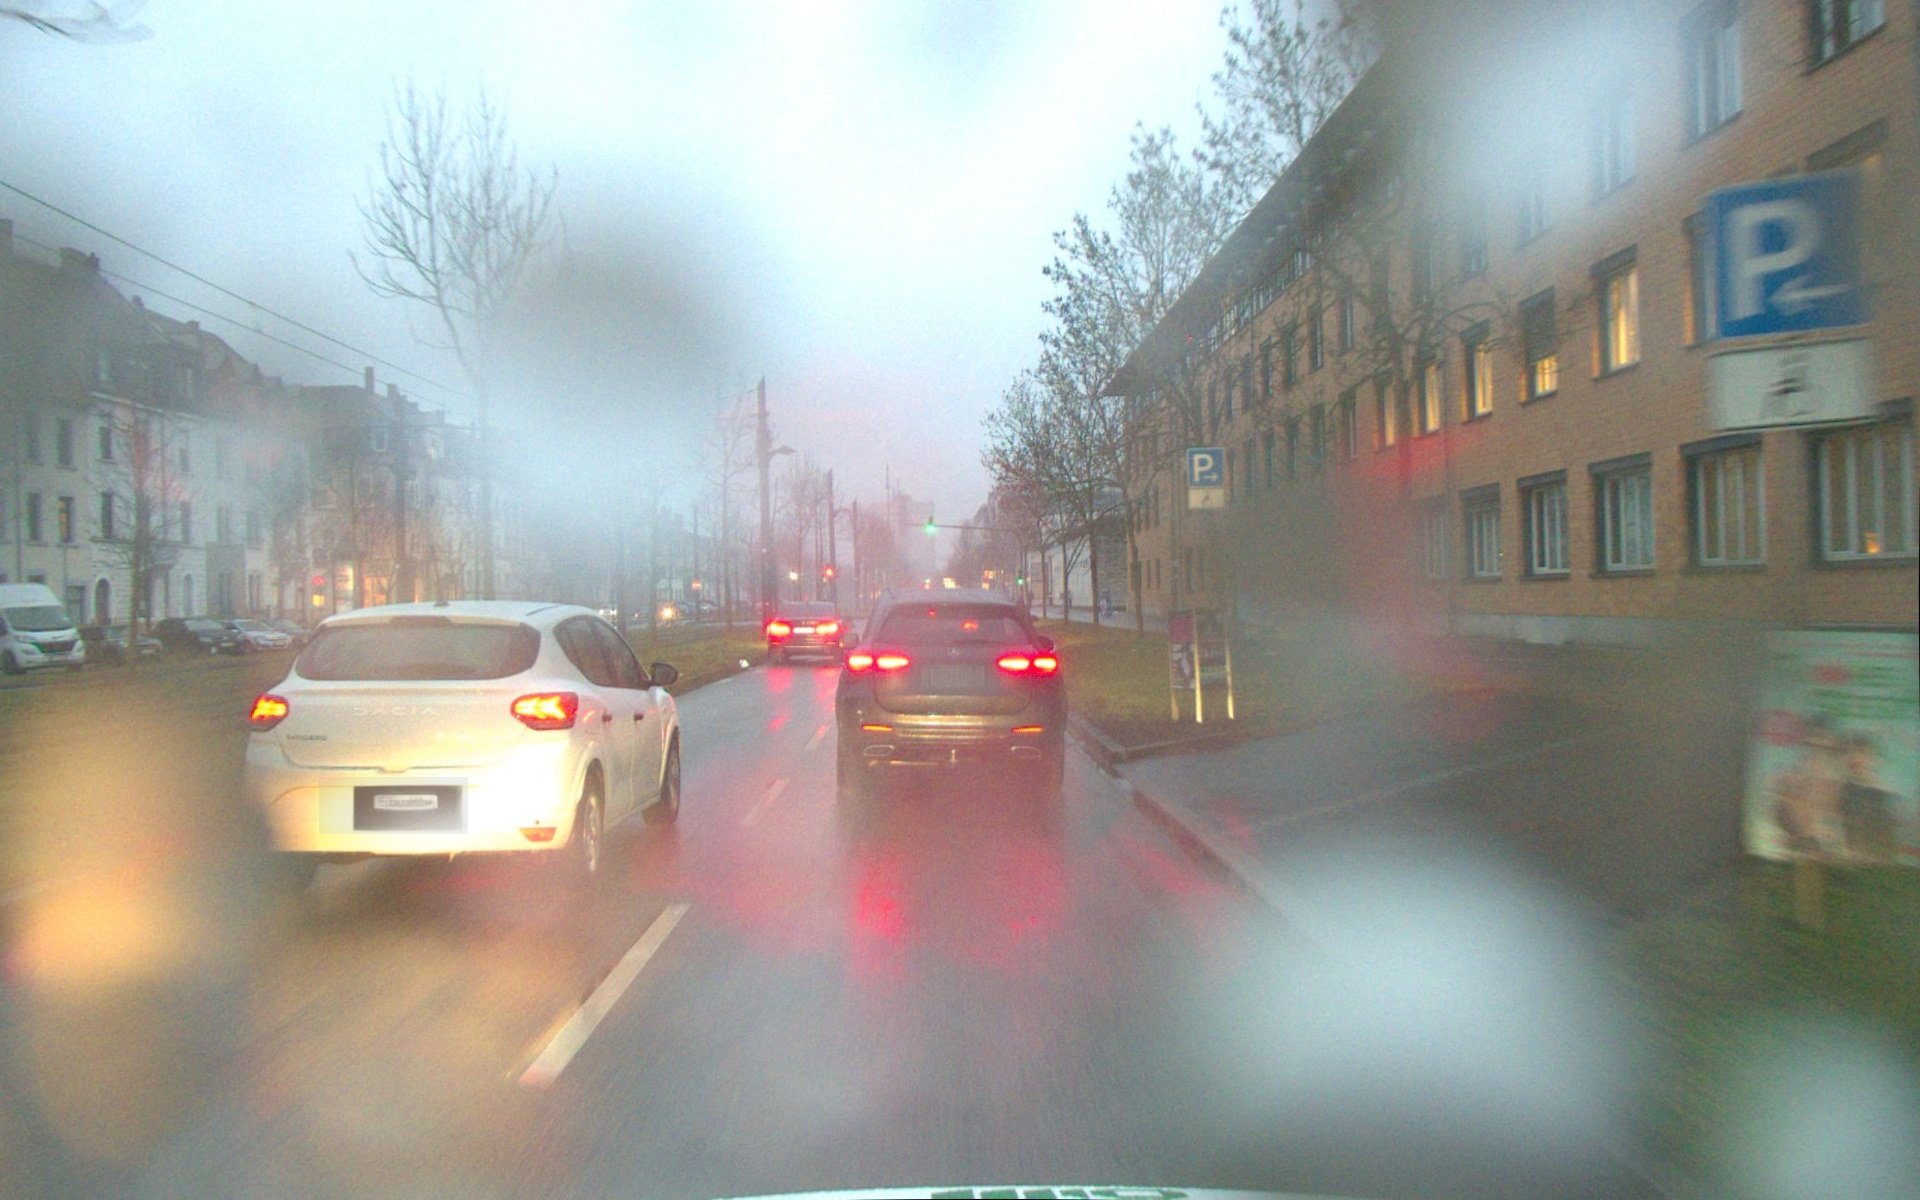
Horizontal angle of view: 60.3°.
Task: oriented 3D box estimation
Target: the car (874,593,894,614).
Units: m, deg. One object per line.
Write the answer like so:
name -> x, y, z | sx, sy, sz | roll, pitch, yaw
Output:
car -> -7.735, 0.324, 168.946 | 1.779, 2.049, 4.000 | -2, 0, 0

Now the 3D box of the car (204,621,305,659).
car -> -28.205, 1.607, 66.088 | 3.920, 1.355, 1.992 | -2, 0, 37

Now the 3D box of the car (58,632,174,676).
car -> -28.643, 1.834, 56.100 | 3.920, 1.355, 1.992 | -2, 0, 37

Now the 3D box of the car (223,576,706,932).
car -> -2.600, 0.714, 9.667 | 1.638, 1.628, 4.053 | 0, 0, -1

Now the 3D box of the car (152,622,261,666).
car -> -28.691, 1.684, 62.979 | 3.916, 1.512, 1.994 | -2, 0, 33

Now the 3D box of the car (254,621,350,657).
car -> -27.716, 1.636, 69.625 | 3.920, 1.355, 1.992 | -2, 0, 37

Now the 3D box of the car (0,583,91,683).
car -> -28.664, 1.023, 50.269 | 5.759, 2.846, 1.989 | -2, 0, 41

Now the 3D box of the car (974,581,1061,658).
car -> 1.400, 0.467, 41.568 | 1.953, 1.774, 3.999 | -2, 0, -1

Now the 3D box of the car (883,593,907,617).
car -> -5.449, 0.429, 138.966 | 1.954, 1.948, 3.998 | -2, 0, -3

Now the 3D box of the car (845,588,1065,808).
car -> -0.060, 0.739, 14.406 | 1.638, 1.628, 4.053 | 0, 0, -1

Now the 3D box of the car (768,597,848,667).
car -> -3.716, 0.750, 40.888 | 1.638, 1.628, 4.053 | 0, 0, -1
